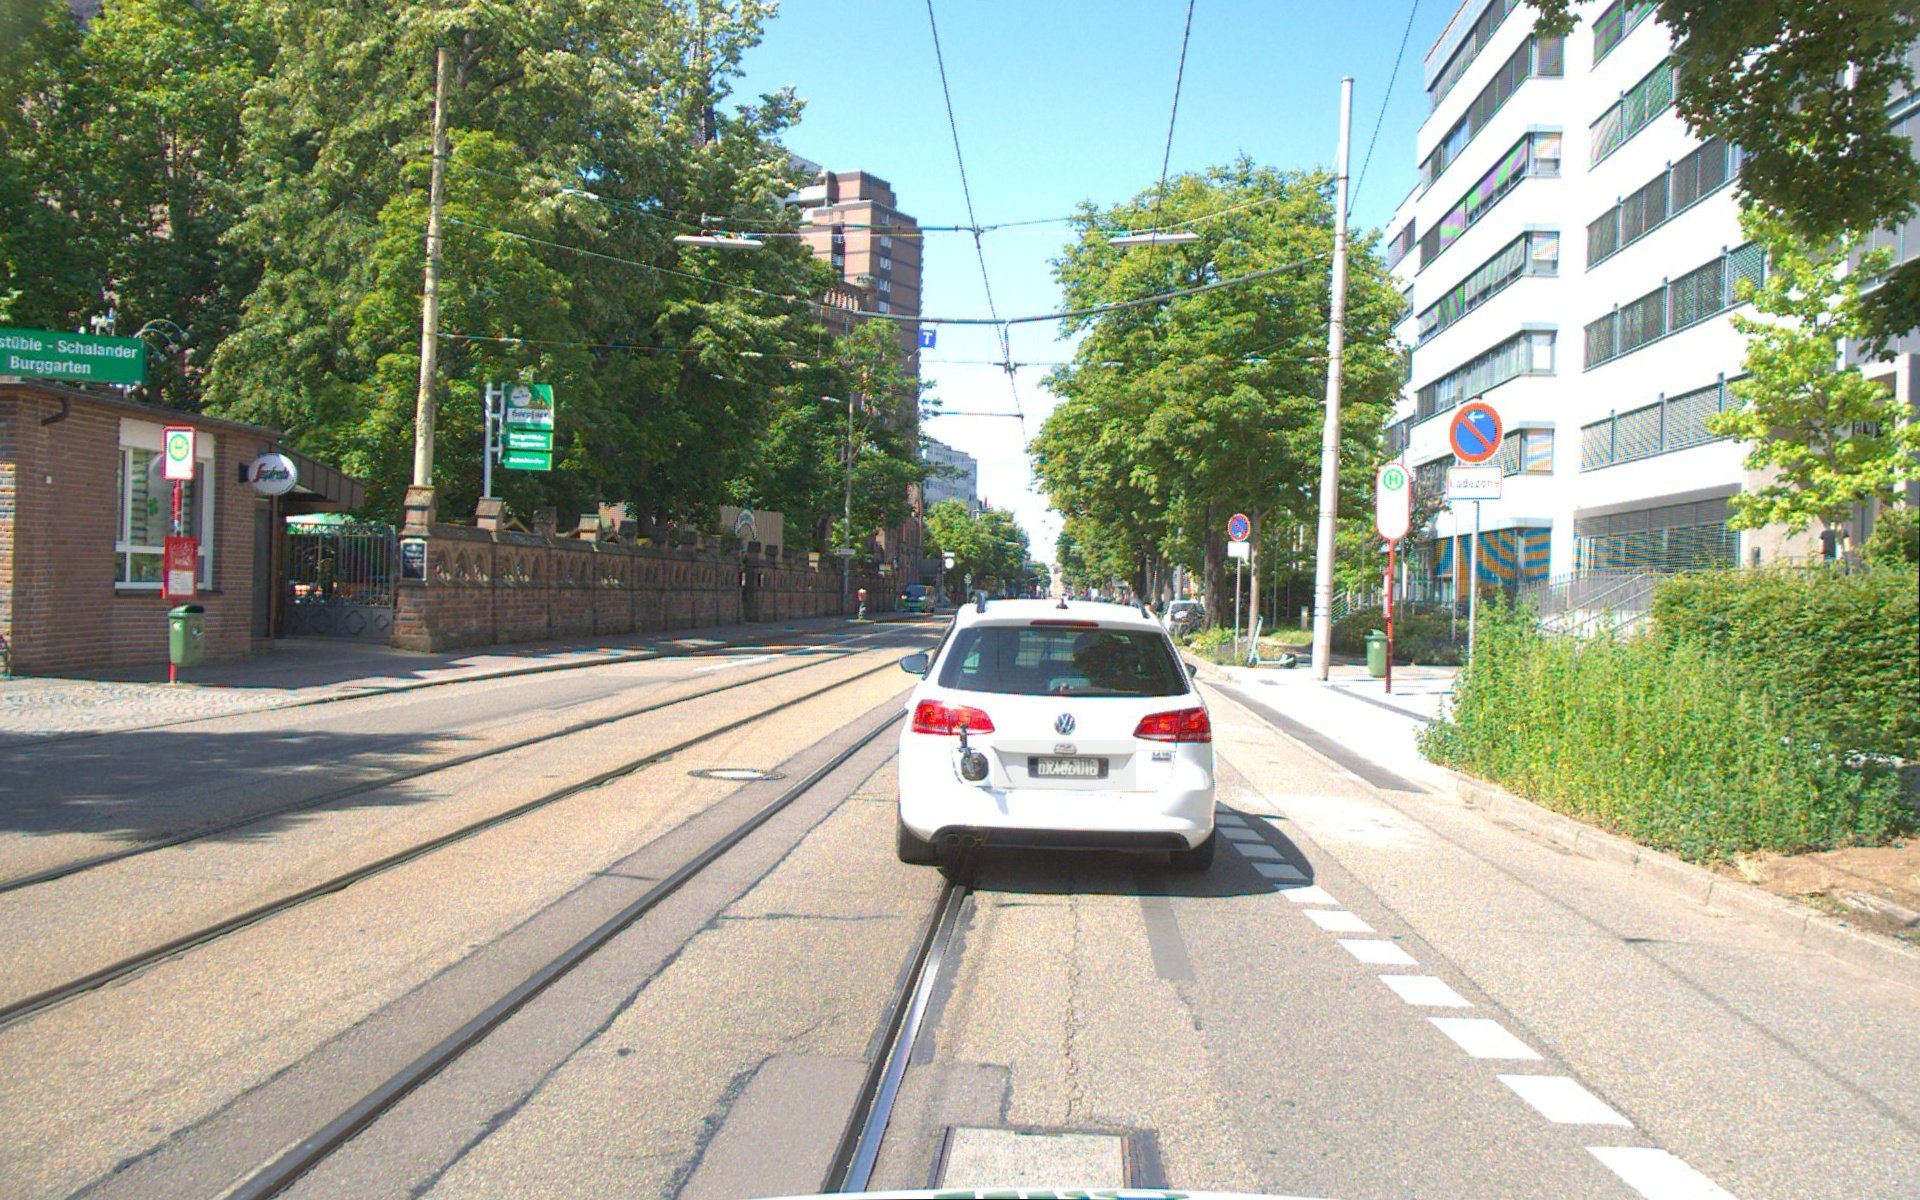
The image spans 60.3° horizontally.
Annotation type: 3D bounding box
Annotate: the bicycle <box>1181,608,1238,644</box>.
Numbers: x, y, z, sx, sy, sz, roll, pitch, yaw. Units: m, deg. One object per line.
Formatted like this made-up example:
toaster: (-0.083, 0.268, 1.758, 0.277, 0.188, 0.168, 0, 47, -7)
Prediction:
bicycle: (8.140, 0.847, 54.021, 1.737, 1.139, 0.596, 1, 0, 1)

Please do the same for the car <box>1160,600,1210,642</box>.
car: (8.264, 0.744, 61.064, 1.557, 1.476, 3.948, 1, 0, 4)

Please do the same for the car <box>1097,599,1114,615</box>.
car: (14.195, 0.678, 161.448, 1.677, 1.425, 3.845, 1, 0, 5)

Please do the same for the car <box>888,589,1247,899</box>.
car: (0.622, 0.690, 10.180, 1.717, 1.467, 4.414, 1, 0, 3)

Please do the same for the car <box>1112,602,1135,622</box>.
car: (12.061, 0.857, 122.111, 1.677, 1.425, 3.845, 1, 0, 6)

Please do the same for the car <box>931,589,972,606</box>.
car: (-0.916, -0.231, 180.642, 4.053, 1.557, 1.923, 3, 1, -18)

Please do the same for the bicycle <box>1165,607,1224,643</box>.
bicycle: (8.011, 0.855, 56.495, 1.872, 1.101, 0.551, 4, 0, 1)

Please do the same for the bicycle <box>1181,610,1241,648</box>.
bicycle: (7.624, 0.870, 50.296, 1.737, 1.102, 0.596, 1, 0, 1)

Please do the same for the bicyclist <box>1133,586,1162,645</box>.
bicyclist: (5.375, 0.440, 47.548, 0.769, 1.657, 0.738, 1, 0, 4)

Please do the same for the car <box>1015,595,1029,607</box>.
car: (7.314, 0.115, 193.524, 1.462, 1.409, 3.644, 1, 0, 4)

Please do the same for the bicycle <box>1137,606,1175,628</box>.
bicycle: (9.413, 0.829, 79.352, 1.751, 1.028, 0.488, 1, 0, -1)

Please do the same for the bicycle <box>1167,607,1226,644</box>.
bicycle: (7.993, 0.851, 55.882, 1.872, 1.101, 0.551, 4, 0, 1)

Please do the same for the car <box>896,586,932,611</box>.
car: (-3.339, -0.120, 120.941, 1.951, 1.788, 4.715, 1, 0, 6)

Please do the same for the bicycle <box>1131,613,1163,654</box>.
bicycle: (5.351, 0.935, 47.429, 0.794, 1.097, 2.013, 2, 0, 4)

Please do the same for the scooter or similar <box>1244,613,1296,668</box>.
scooter or similar: (6.992, 0.909, 37.359, 1.118, 1.174, 0.493, 2, 0, 10)

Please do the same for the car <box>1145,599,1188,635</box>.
car: (9.082, 0.736, 73.043, 1.629, 1.469, 4.636, 1, 0, 4)

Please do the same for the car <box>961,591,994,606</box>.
car: (2.269, -0.188, 213.650, 3.948, 1.847, 1.978, 1, 0, -32)

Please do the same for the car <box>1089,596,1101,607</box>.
car: (18.554, 0.210, 227.084, 1.677, 1.425, 3.845, 1, 0, 4)

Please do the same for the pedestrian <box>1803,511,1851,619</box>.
pedestrian: (14.374, -0.571, 27.427, 0.488, 1.758, 0.547, 2, 0, 3)

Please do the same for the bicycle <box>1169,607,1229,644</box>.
bicycle: (7.996, 0.860, 55.281, 1.872, 1.101, 0.551, 3, 0, 1)
